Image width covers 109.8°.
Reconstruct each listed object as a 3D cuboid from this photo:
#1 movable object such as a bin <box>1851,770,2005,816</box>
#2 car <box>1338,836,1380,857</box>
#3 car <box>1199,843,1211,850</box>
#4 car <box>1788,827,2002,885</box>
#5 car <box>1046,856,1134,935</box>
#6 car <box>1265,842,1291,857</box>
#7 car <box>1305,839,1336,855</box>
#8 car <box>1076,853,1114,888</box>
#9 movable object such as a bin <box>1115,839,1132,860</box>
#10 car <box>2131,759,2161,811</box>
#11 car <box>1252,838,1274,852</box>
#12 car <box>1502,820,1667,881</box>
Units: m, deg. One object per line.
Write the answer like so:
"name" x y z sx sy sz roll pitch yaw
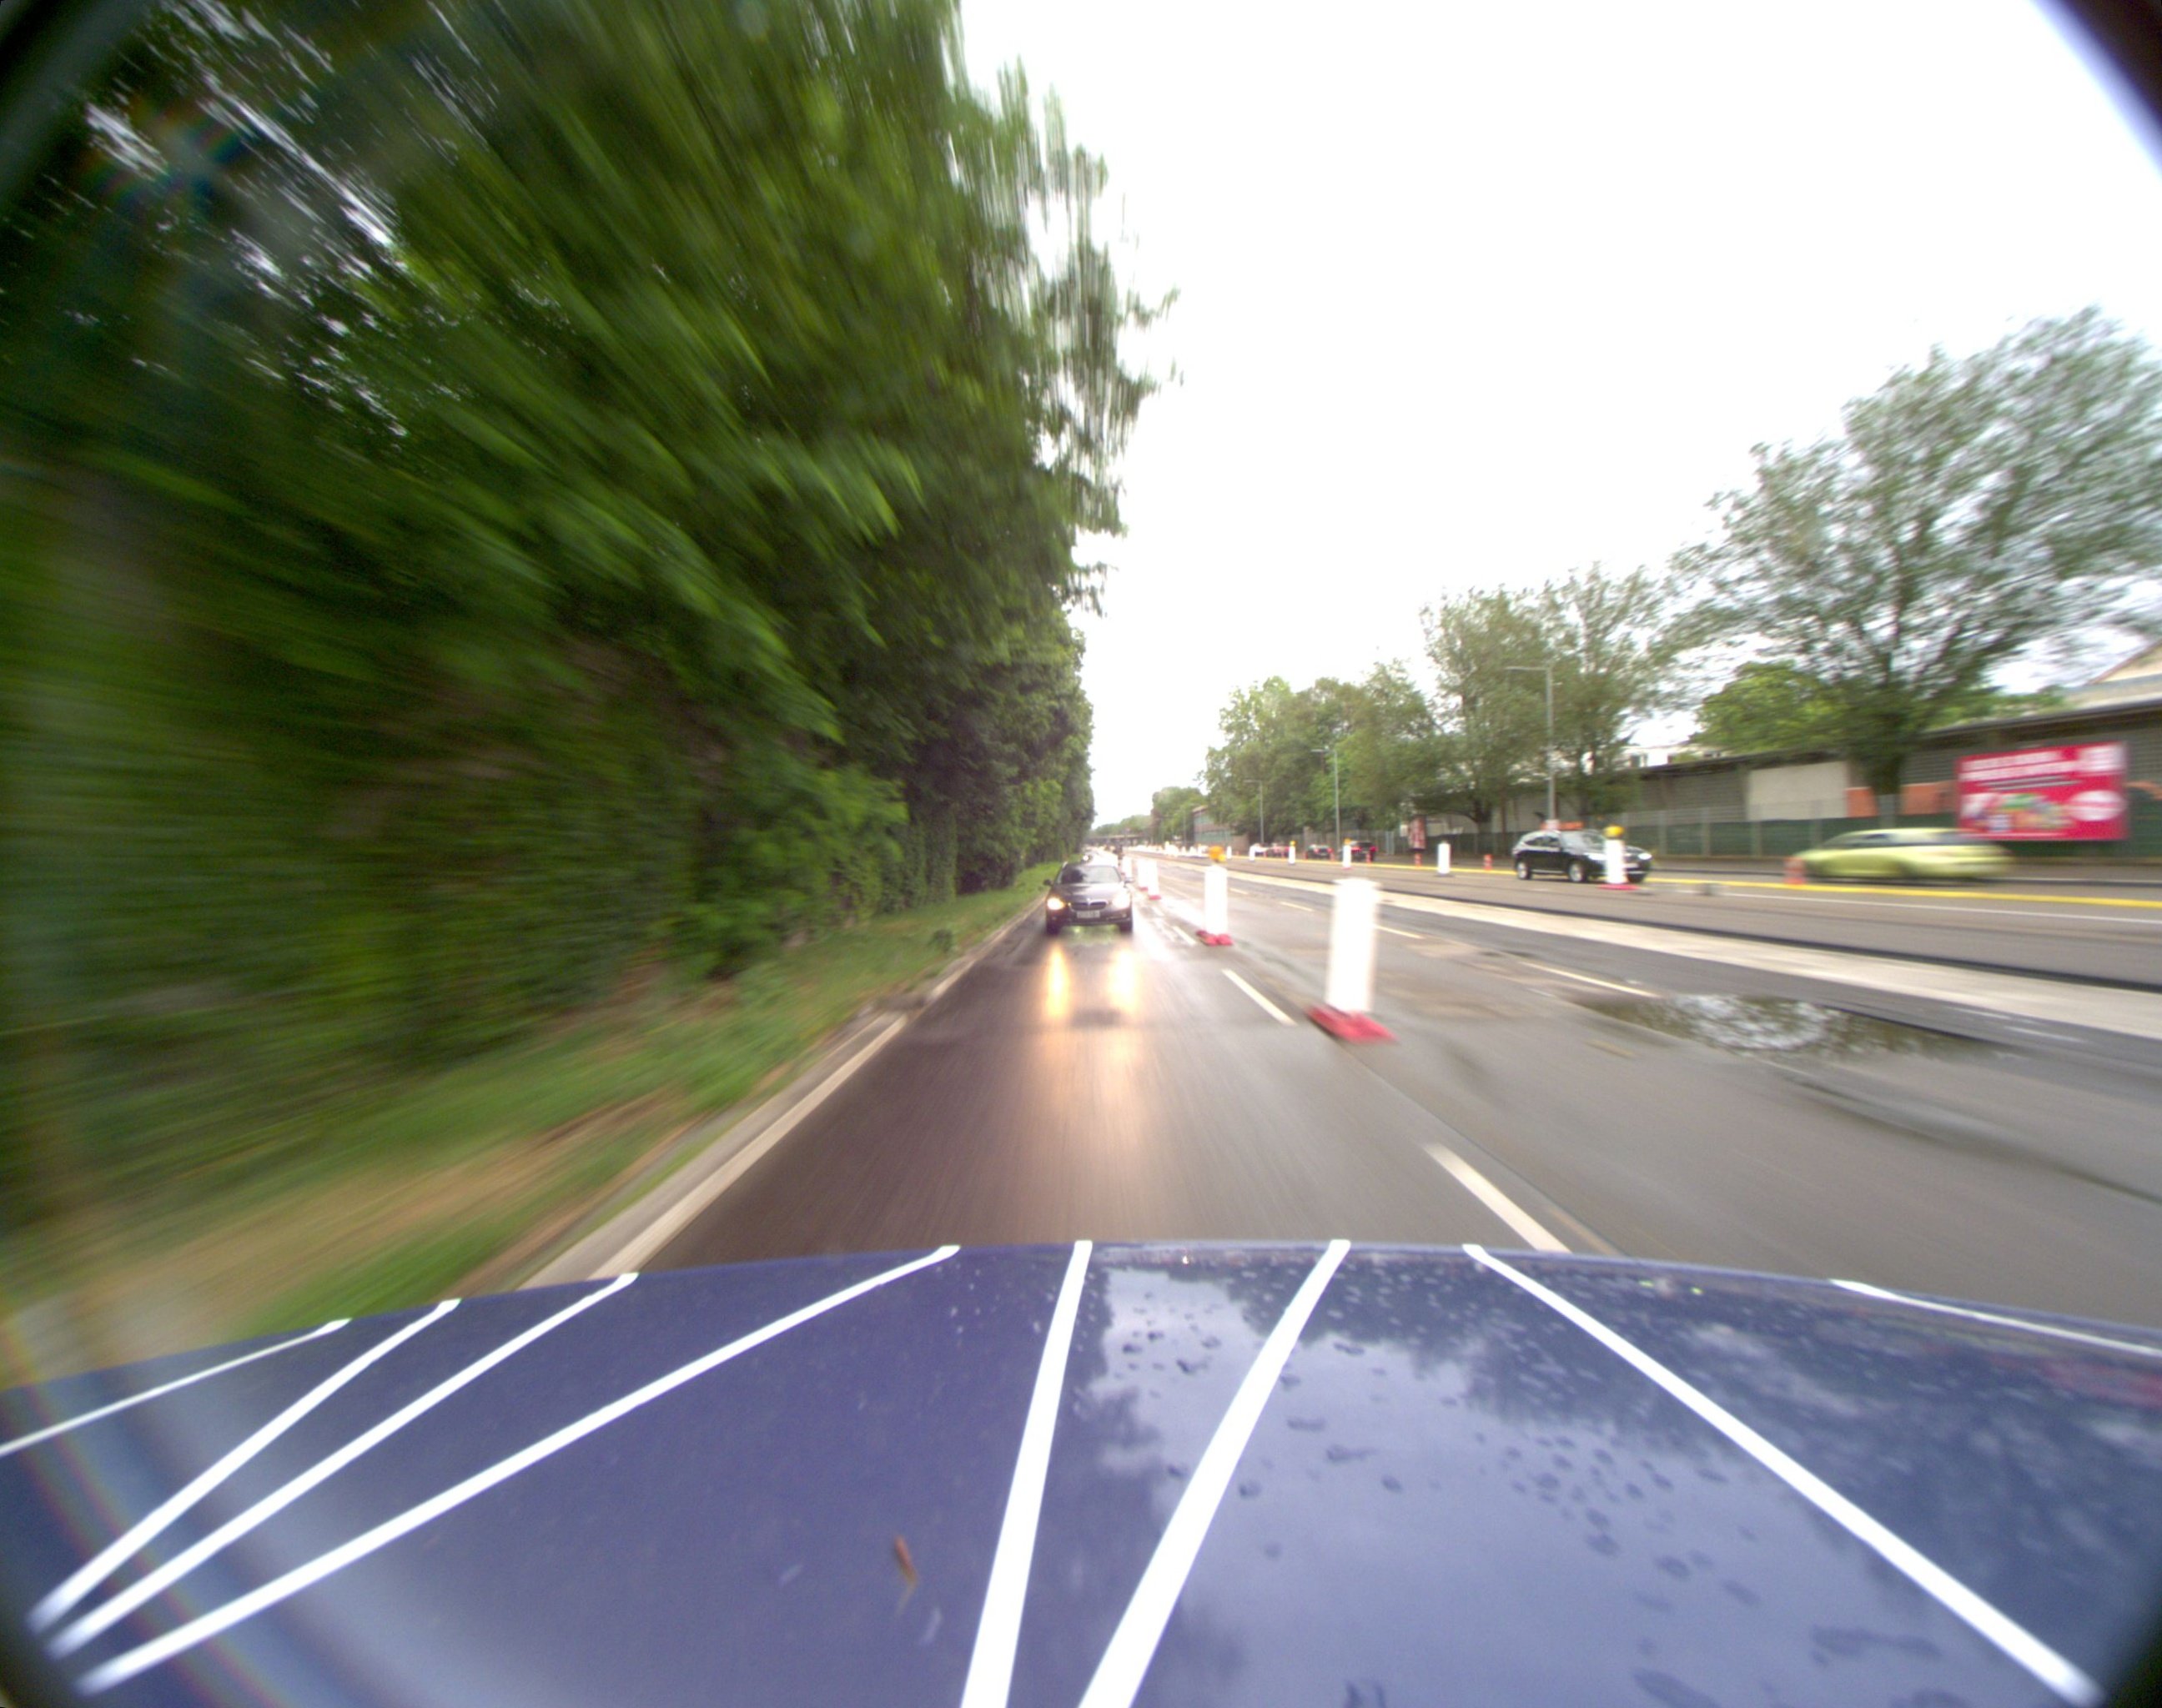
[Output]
"movable object such as a bin" 33.833 -2.393 30.526 4.012 1.519 1.756 -1 1 44
"car" 22.161 -0.588 60.683 1.863 1.621 4.328 0 1 1
"car" 23.753 -1.529 145.405 1.671 1.308 4.454 0 1 2
"car" 21.151 0.021 19.999 1.557 1.360 3.804 -1 1 0
"car" 0.239 0.861 17.993 1.742 1.454 4.457 -3 1 1
"car" 22.140 -0.504 85.466 1.863 1.610 4.364 0 1 1
"car" 22.677 -0.675 72.059 1.863 1.467 3.731 0 1 1
"car" 0.697 0.788 38.190 1.742 1.454 4.457 -3 1 1
"movable object such as a bin" 6.587 -0.677 117.926 1.999 3.084 5.622 -3 1 -2
"car" 34.011 -2.121 21.909 4.012 1.519 2.004 -1 1 39
"car" 23.162 -1.180 96.748 1.863 1.696 4.364 0 1 1
"car" 15.519 -0.111 23.833 1.998 1.696 4.984 0 0 2
